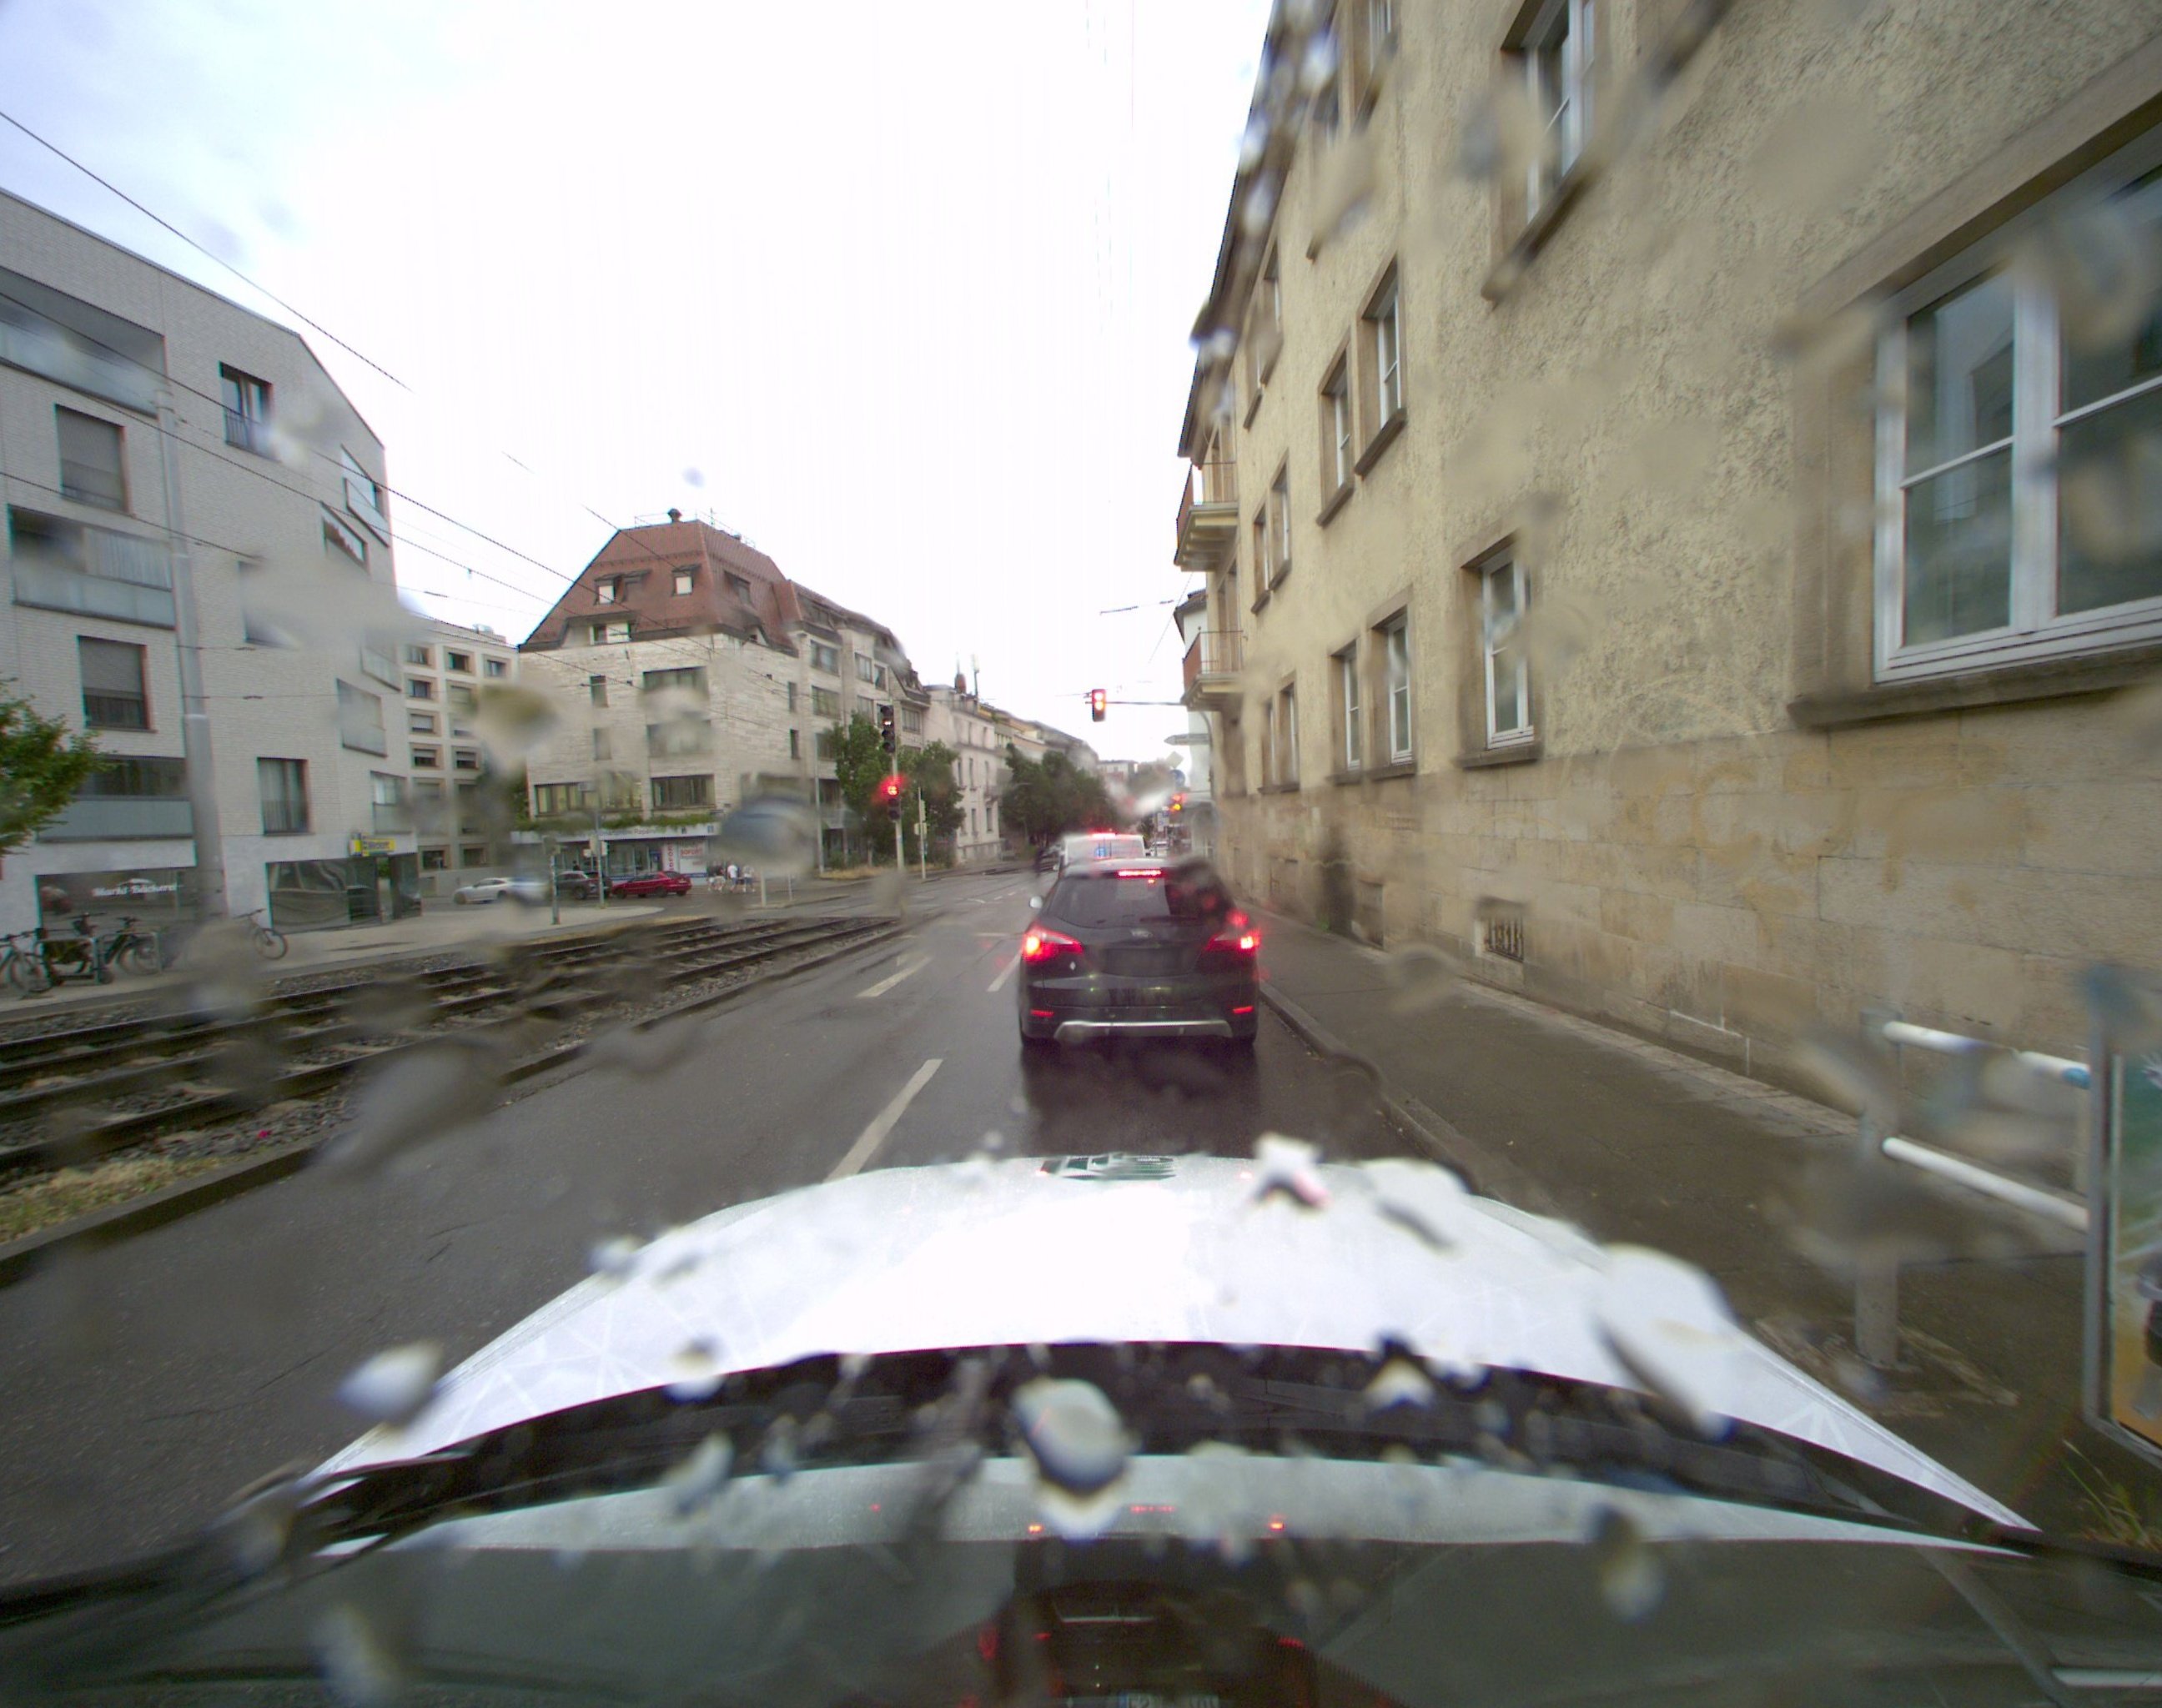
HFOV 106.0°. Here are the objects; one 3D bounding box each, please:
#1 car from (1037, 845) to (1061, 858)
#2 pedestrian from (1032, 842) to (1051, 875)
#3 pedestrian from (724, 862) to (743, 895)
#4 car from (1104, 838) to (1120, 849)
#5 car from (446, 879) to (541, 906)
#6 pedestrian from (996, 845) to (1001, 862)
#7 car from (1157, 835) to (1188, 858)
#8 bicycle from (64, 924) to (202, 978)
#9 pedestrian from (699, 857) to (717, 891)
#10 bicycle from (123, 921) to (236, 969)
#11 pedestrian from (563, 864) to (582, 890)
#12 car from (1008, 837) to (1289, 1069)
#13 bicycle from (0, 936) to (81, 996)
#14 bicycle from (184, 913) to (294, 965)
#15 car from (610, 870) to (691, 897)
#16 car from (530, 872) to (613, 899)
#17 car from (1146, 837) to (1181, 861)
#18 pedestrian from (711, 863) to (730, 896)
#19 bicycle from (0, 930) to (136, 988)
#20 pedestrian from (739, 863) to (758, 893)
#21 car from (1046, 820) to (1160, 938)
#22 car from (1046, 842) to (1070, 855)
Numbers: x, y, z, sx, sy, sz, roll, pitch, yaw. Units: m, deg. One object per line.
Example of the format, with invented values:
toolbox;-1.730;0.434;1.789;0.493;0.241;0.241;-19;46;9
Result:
car;-3.658;-0.267;94.221;1.682;1.377;4.736;-2;-1;12
pedestrian;-2.206;0.239;45.224;0.926;1.830;0.960;0;-1;4
pedestrian;-18.422;1.297;43.237;0.643;1.724;0.686;0;-1;10
car;5.309;-1.793;139.918;1.843;1.637;4.952;-2;0;12
car;-32.586;2.128;45.185;4.458;1.318;1.598;-2;-1;11
pedestrian;-8.241;-0.075;81.625;0.466;1.652;0.582;0;-1;0
car;7.097;-0.554;62.739;1.833;1.632;4.602;-2;0;12
bicycle;-17.988;1.825;15.486;1.787;0.918;0.385;-1;0;-16
pedestrian;-20.499;1.094;44.771;0.643;1.842;0.686;0;-1;10
bicycle;-17.954;1.810;16.235;1.778;0.876;0.387;-1;-1;-1
pedestrian;-30.228;1.375;48.425;0.677;1.549;0.651;0;-1;10
car;0.502;0.662;7.362;1.836;1.507;4.001;-1;0;2
bicycle;-17.651;1.850;13.406;1.779;0.918;0.387;-2;0;-3
bicycle;-17.974;1.805;17.397;1.779;0.980;0.440;-2;0;-3
car;-22.906;1.556;43.379;3.666;1.318;1.600;-2;-1;15
car;-27.672;1.709;44.246;3.670;1.318;1.599;-2;-1;11
car;5.718;-0.350;56.159;1.789;1.455;4.602;-3;0;12
pedestrian;-19.237;1.348;43.475;0.643;1.749;0.686;0;-1;10
bicycle;-17.794;1.831;14.284;1.782;0.918;0.386;-1;0;-8
pedestrian;-17.549;1.253;43.039;0.643;1.549;0.686;0;-1;10
car;0.425;0.457;16.688;1.981;2.060;4.645;-1;0;1
car;-2.809;-0.628;100.063;1.843;1.548;4.736;-2;0;12
